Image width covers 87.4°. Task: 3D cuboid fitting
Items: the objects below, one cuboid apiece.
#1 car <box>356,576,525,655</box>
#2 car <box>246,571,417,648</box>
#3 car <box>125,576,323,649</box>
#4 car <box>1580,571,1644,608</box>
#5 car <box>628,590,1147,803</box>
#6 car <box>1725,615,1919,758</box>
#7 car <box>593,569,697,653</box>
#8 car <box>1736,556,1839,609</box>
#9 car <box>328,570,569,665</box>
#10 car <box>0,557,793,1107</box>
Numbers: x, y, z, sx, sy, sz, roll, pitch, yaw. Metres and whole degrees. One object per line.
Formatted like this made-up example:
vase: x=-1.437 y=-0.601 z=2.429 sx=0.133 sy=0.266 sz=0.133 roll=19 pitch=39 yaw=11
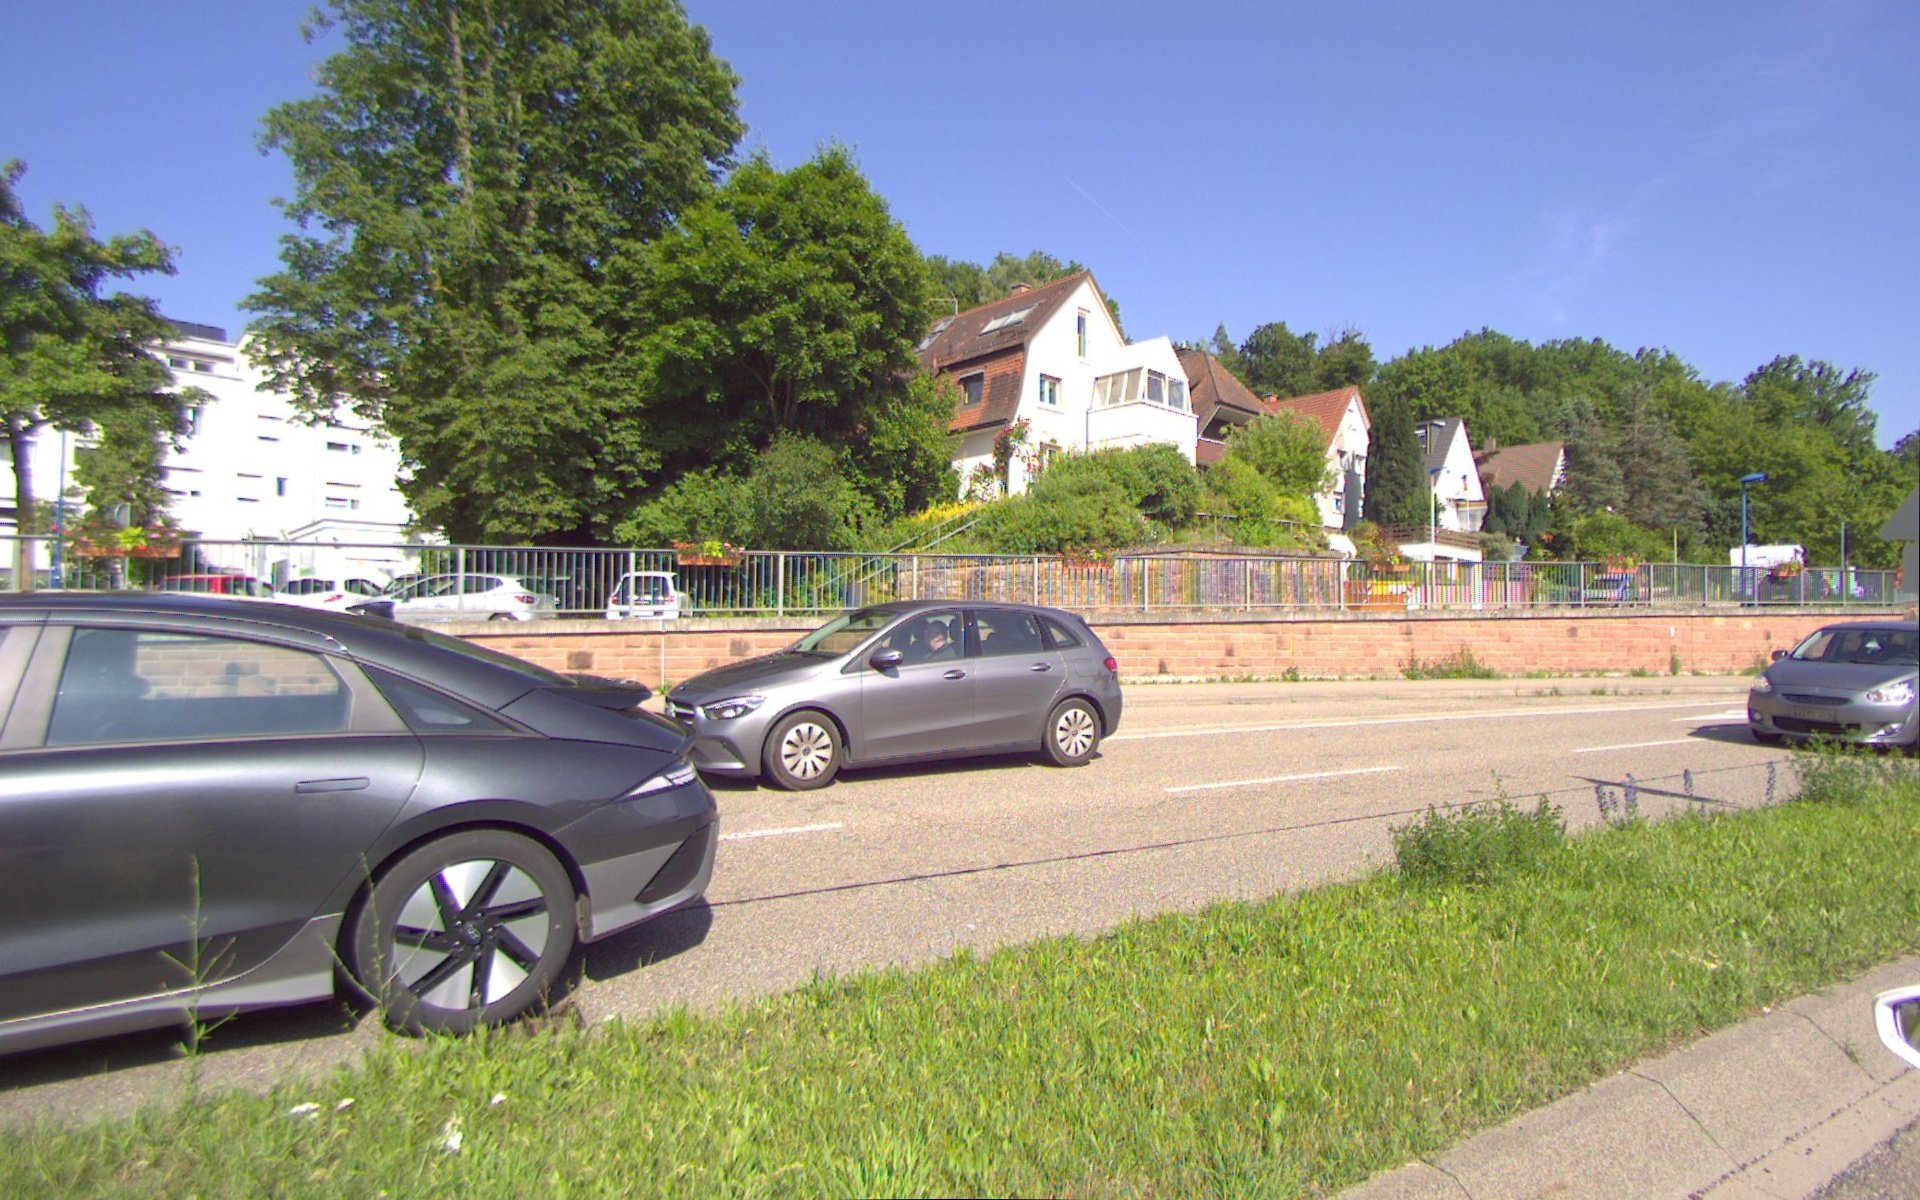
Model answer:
car: x=-12.197 y=0.298 z=23.922 sx=1.961 sy=1.694 sz=3.999 roll=1 pitch=1 yaw=0
car: x=-15.055 y=0.157 z=24.344 sx=1.877 sy=1.724 sz=3.996 roll=0 pitch=2 yaw=-5
car: x=-17.450 y=0.228 z=24.089 sx=1.877 sy=1.581 sz=3.998 roll=1 pitch=1 yaw=-2
car: x=31.203 y=-0.469 z=48.047 sx=1.875 sy=1.651 sz=3.976 roll=0 pitch=-1 yaw=44
car: x=-0.631 y=0.746 z=9.420 sx=4.453 sy=1.585 sz=1.985 roll=1 pitch=0 yaw=-28
car: x=11.192 y=0.957 z=12.171 sx=3.793 sy=1.460 sz=1.665 roll=1 pitch=0 yaw=-29
car: x=-7.638 y=0.208 z=24.676 sx=1.879 sy=1.901 sz=3.993 roll=0 pitch=1 yaw=-9
car: x=31.758 y=-0.667 z=38.511 sx=4.687 sy=1.946 sz=2.006 roll=0 pitch=2 yaw=-37
car: x=-10.368 y=0.362 z=20.602 sx=3.922 sy=1.813 sz=1.921 roll=1 pitch=-1 yaw=-2
car: x=-3.091 y=0.628 z=3.463 sx=4.667 sy=1.490 sz=1.780 roll=1 pitch=0 yaw=-34
